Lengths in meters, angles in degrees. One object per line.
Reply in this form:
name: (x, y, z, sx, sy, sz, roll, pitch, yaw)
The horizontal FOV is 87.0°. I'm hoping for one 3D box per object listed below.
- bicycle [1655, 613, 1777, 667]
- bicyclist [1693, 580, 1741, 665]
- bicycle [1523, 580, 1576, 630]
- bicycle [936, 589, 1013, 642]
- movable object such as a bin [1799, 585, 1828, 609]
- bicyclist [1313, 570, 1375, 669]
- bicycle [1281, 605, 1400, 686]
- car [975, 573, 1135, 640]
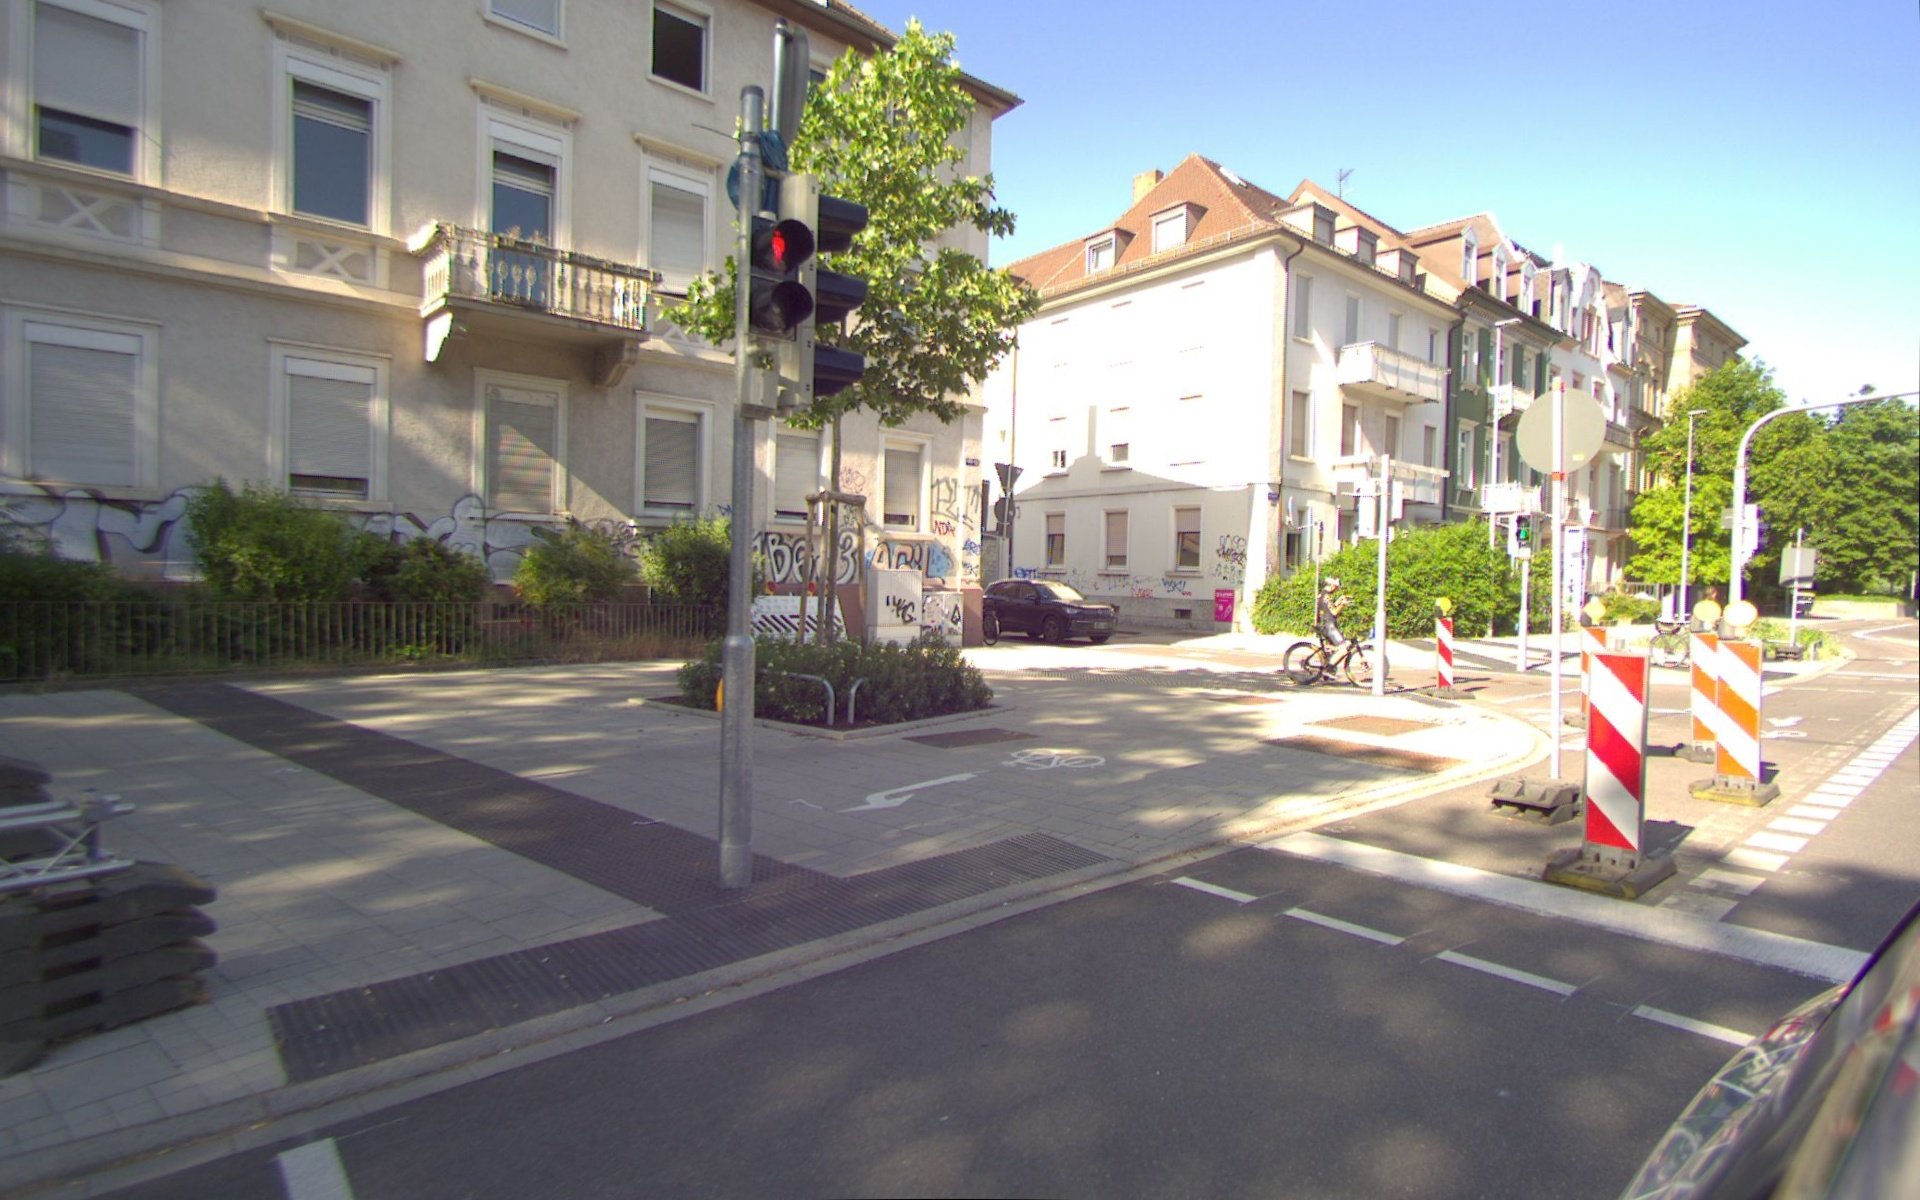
bicycle: (15.754, 0.808, 21.131, 0.594, 1.038, 1.965, 1, 0, -41)
bicyclist: (15.756, 0.455, 21.052, 0.843, 1.730, 0.604, 1, 1, -41)
bicycle: (18.124, 0.152, 31.096, 2.448, 1.462, 0.709, 1, -1, -43)
bicycle: (0.301, 0.321, 22.729, 0.568, 1.093, 2.001, 0, 1, -39)
movable object such as a bin: (52.547, -0.211, 62.333, 0.964, 1.415, 1.276, 4, 2, 26)
bicyclist: (6.068, 0.288, 16.047, 0.860, 1.518, 0.721, 1, 1, 20)
bicycle: (6.007, 0.693, 16.050, 1.666, 1.111, 0.686, 4, 2, 20)
car: (2.448, 0.104, 27.001, 1.947, 1.639, 4.263, 0, 1, -36)
